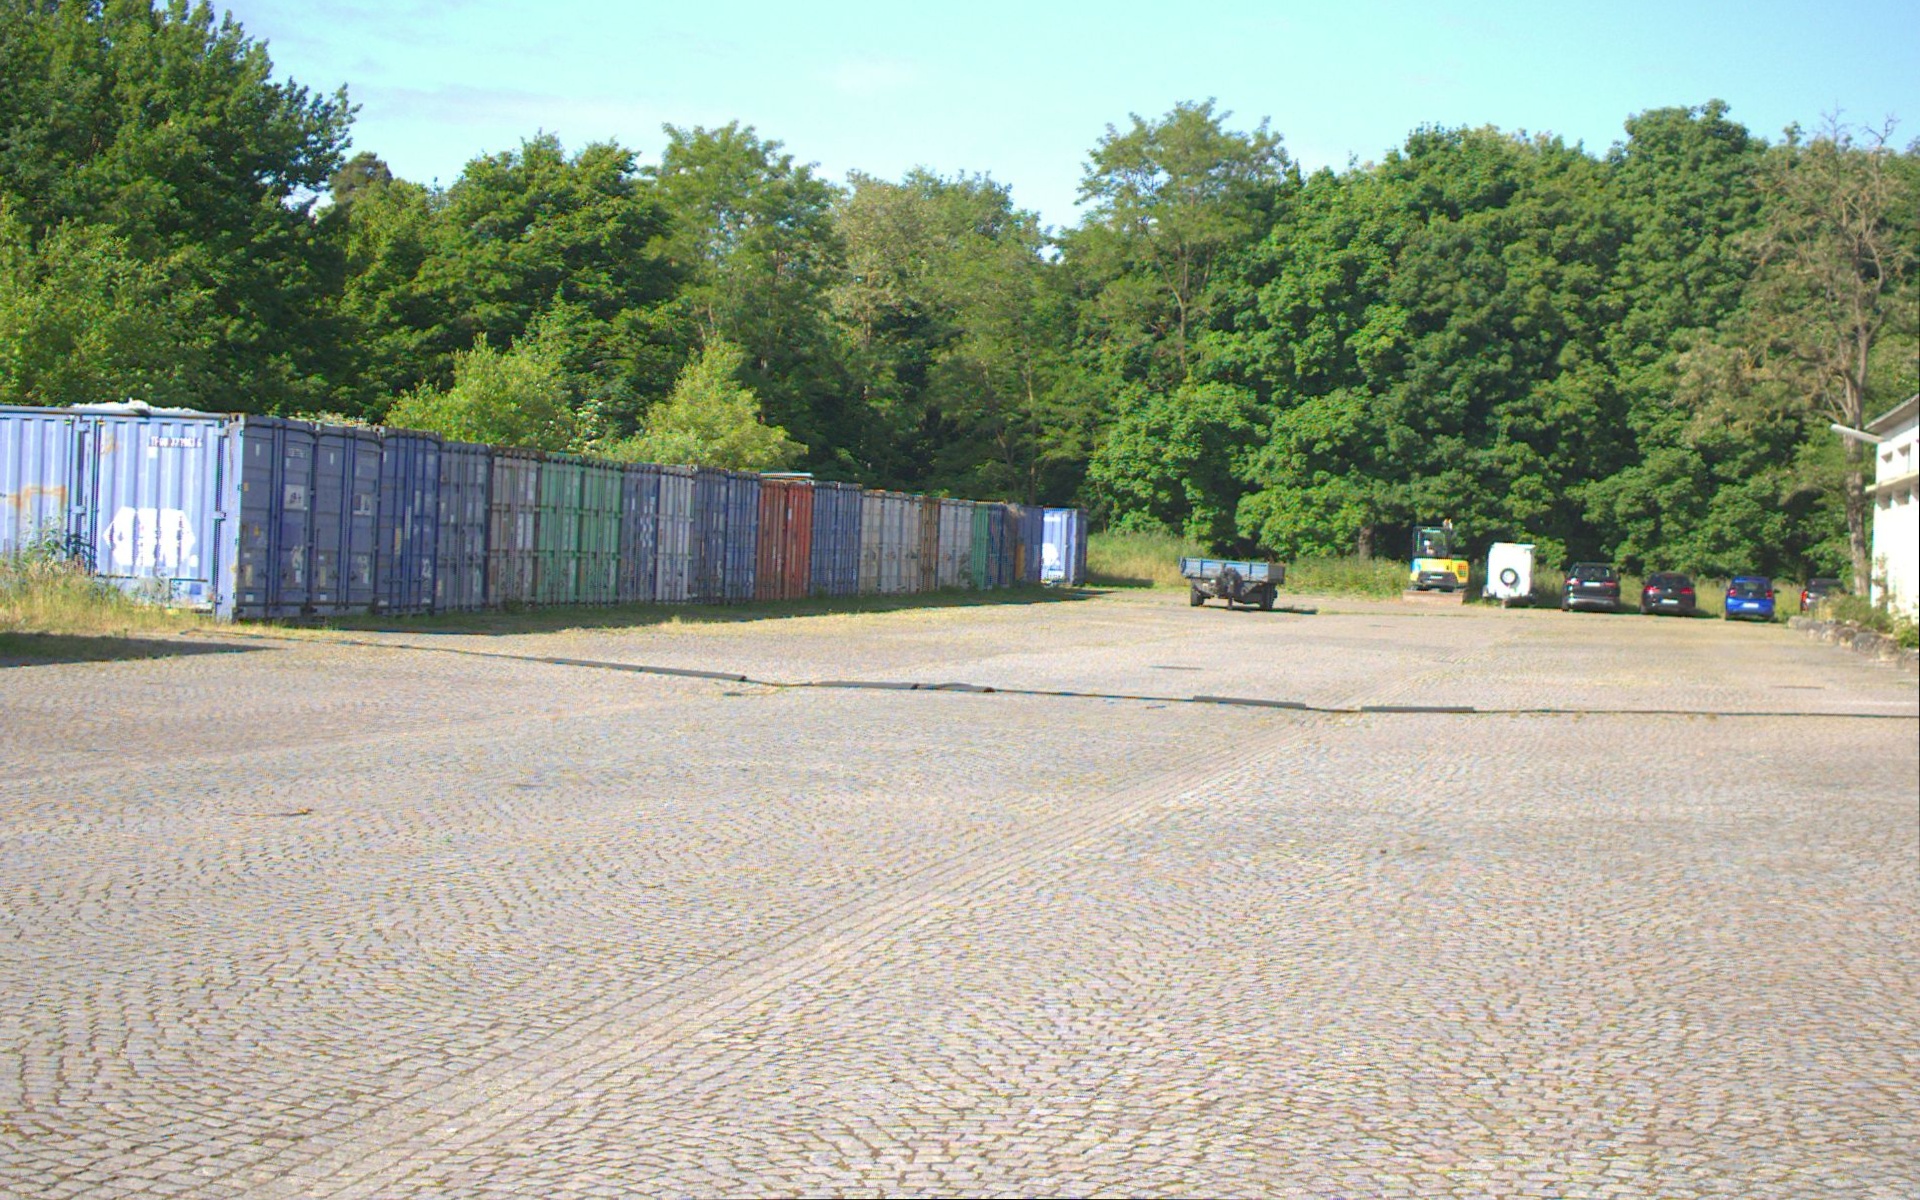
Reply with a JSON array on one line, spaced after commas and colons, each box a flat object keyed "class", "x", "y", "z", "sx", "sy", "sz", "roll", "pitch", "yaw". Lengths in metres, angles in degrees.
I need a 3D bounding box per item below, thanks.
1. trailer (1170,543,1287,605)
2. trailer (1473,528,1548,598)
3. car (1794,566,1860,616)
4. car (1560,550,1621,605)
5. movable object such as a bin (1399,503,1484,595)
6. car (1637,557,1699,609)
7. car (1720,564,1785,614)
[{"class": "trailer", "x": 7.738, "y": -0.766, "z": 98.369, "sx": 2.706, "sy": 1.460, "sz": 6.245, "roll": 4, "pitch": 2, "yaw": 10}, {"class": "trailer", "x": 18.698, "y": -1.289, "z": 116.614, "sx": 2.194, "sy": 2.087, "sz": 5.749, "roll": 4, "pitch": 3, "yaw": 11}, {"class": "car", "x": 28.750, "y": -0.329, "z": 113.883, "sx": 1.746, "sy": 1.431, "sz": 4.179, "roll": 4, "pitch": 3, "yaw": 18}, {"class": "car", "x": 20.873, "y": -0.761, "z": 113.746, "sx": 1.864, "sy": 1.583, "sz": 4.294, "roll": 4, "pitch": 3, "yaw": 11}, {"class": "movable object such as a bin", "x": 16.497, "y": -1.792, "z": 117.665, "sx": 2.307, "sy": 2.886, "sz": 5.748, "roll": 4, "pitch": 3, "yaw": 12}, {"class": "car", "x": 23.379, "y": -0.575, "z": 113.609, "sx": 1.864, "sy": 1.465, "sz": 4.294, "roll": 4, "pitch": 3, "yaw": 11}, {"class": "car", "x": 26.074, "y": -0.378, "z": 112.996, "sx": 1.745, "sy": 1.431, "sz": 4.180, "roll": 4, "pitch": 3, "yaw": 16}]
